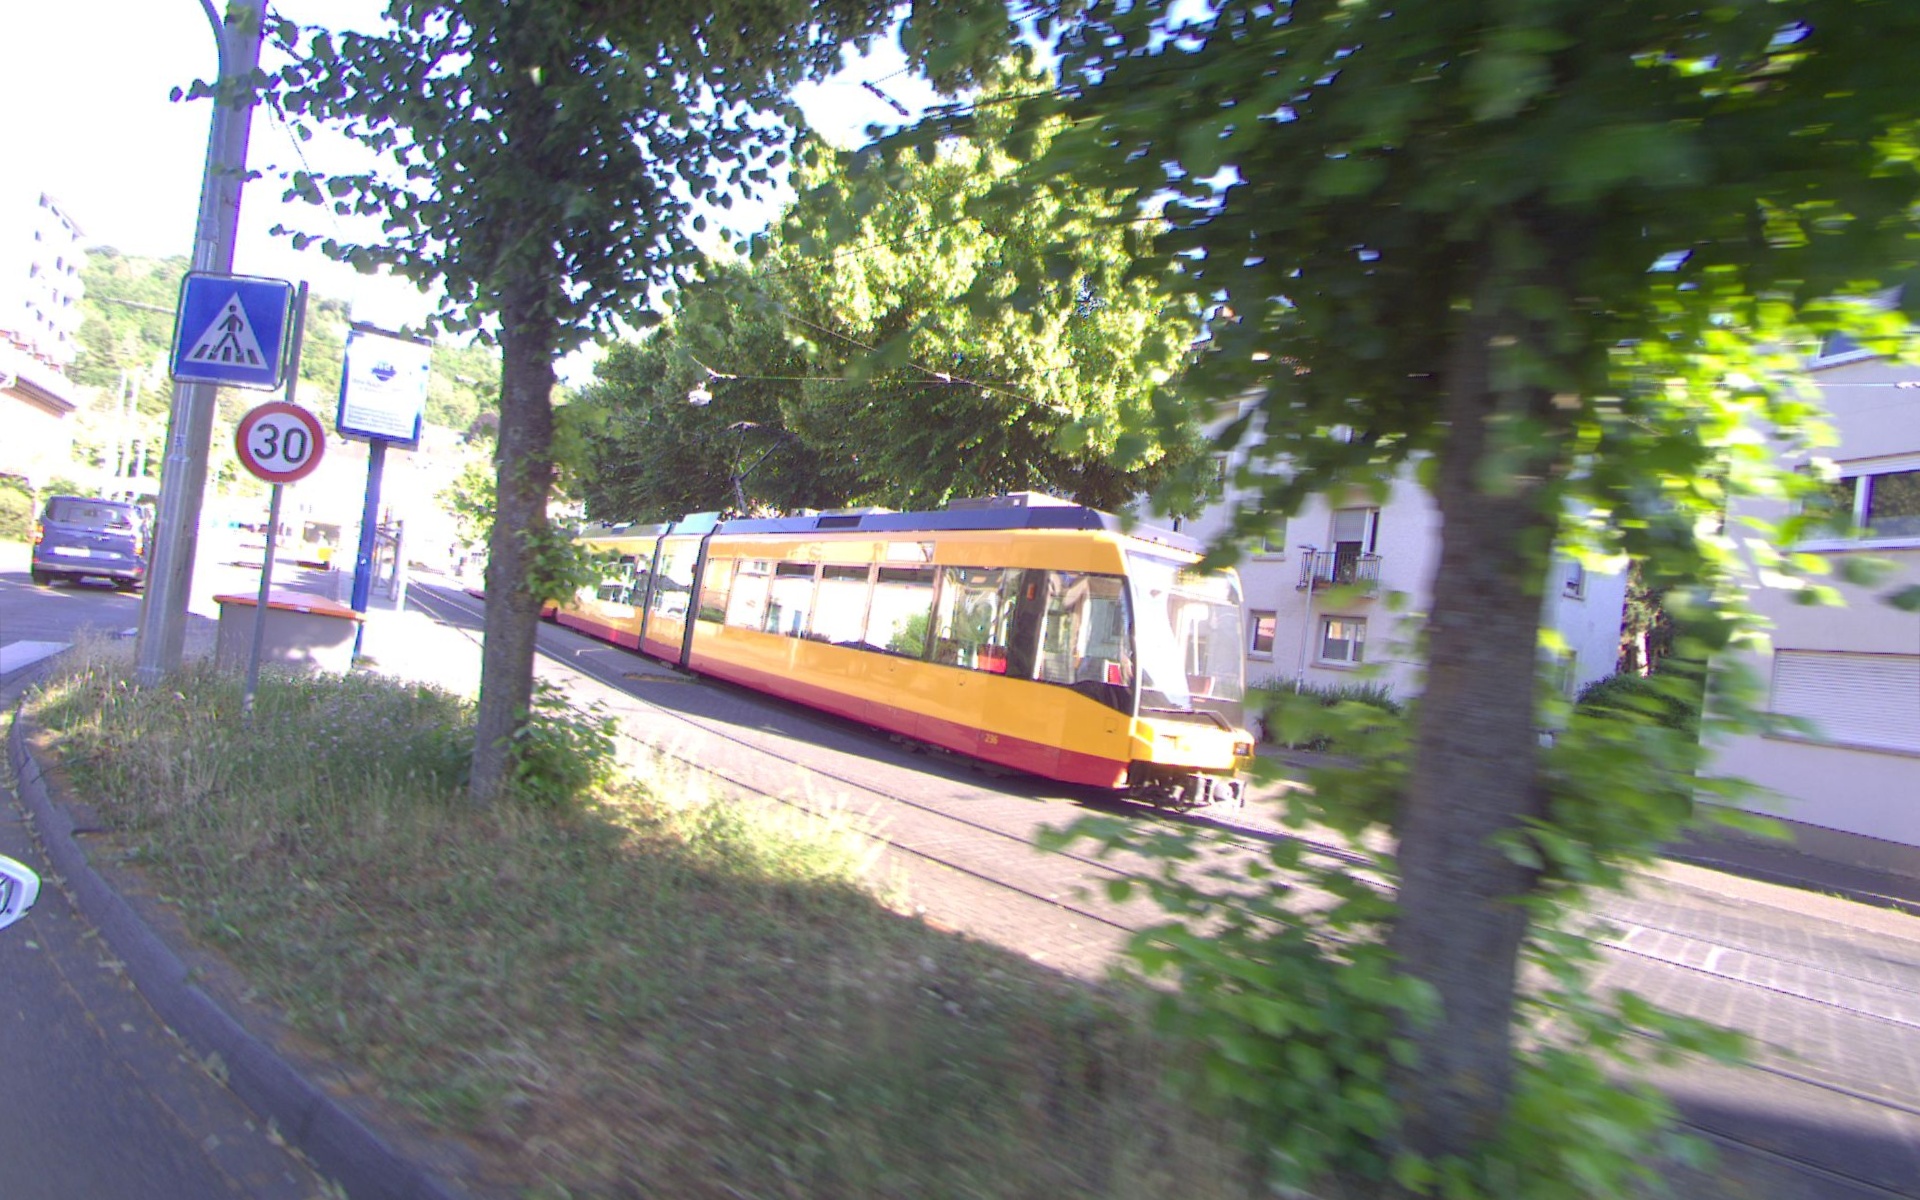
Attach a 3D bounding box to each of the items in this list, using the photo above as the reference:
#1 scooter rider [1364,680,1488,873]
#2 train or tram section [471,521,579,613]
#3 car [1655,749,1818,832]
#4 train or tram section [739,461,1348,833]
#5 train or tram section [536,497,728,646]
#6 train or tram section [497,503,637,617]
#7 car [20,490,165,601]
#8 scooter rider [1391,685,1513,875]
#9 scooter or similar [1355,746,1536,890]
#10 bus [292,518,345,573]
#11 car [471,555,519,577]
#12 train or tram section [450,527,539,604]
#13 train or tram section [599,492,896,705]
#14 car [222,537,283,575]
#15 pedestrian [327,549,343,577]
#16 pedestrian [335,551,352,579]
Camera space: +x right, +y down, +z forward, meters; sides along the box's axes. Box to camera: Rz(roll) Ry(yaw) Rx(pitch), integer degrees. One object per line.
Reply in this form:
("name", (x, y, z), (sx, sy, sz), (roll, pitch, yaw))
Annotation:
("scooter rider", (4.458, 1.676, 9.651), (0.599, 1.693, 0.651), (7, 0, -21))
("train or tram section", (-20.793, -1.656, 47.657), (2.758, 3.597, 9.833), (8, -1, -33))
("car", (17.326, 4.248, 22.408), (3.860, 1.369, 1.575), (10, -3, -32))
("train or tram section", (0.228, 0.350, 14.487), (2.760, 3.597, 9.827), (8, -1, -35))
("train or tram section", (-10.398, -0.963, 30.953), (2.758, 3.597, 9.832), (8, -1, -33))
("train or tram section", (-15.567, -1.622, 39.275), (2.758, 3.597, 9.832), (8, -1, -33))
("car", (-19.594, -1.233, 22.912), (1.984, 2.037, 3.960), (9, -2, -37))
("scooter rider", (4.777, 1.730, 9.788), (0.599, 1.693, 0.651), (7, 0, -21))
("scooter or similar", (4.693, 2.107, 9.747), (1.387, 1.150, 0.682), (8, 0, -19))
("bus", (-45.873, -3.826, 72.059), (2.687, 3.329, 10.127), (8, -2, -32))
("car", (-58.554, -4.262, 126.733), (5.173, 2.037, 1.986), (8, -2, -29))
("train or tram section", (-26.033, -2.008, 55.960), (2.758, 3.597, 9.833), (8, -1, -33))
("train or tram section", (-5.266, -0.206, 22.613), (2.758, 3.597, 9.832), (8, -1, -33))
("car", (-39.281, -2.443, 55.838), (1.989, 1.736, 3.950), (9, -3, -44))
("pedestrian", (-41.929, -2.482, 67.500), (0.542, 1.788, 0.545), (7, -1, 6))
("pedestrian", (-41.319, -2.357, 67.442), (0.542, 1.788, 0.545), (7, -1, 6))
